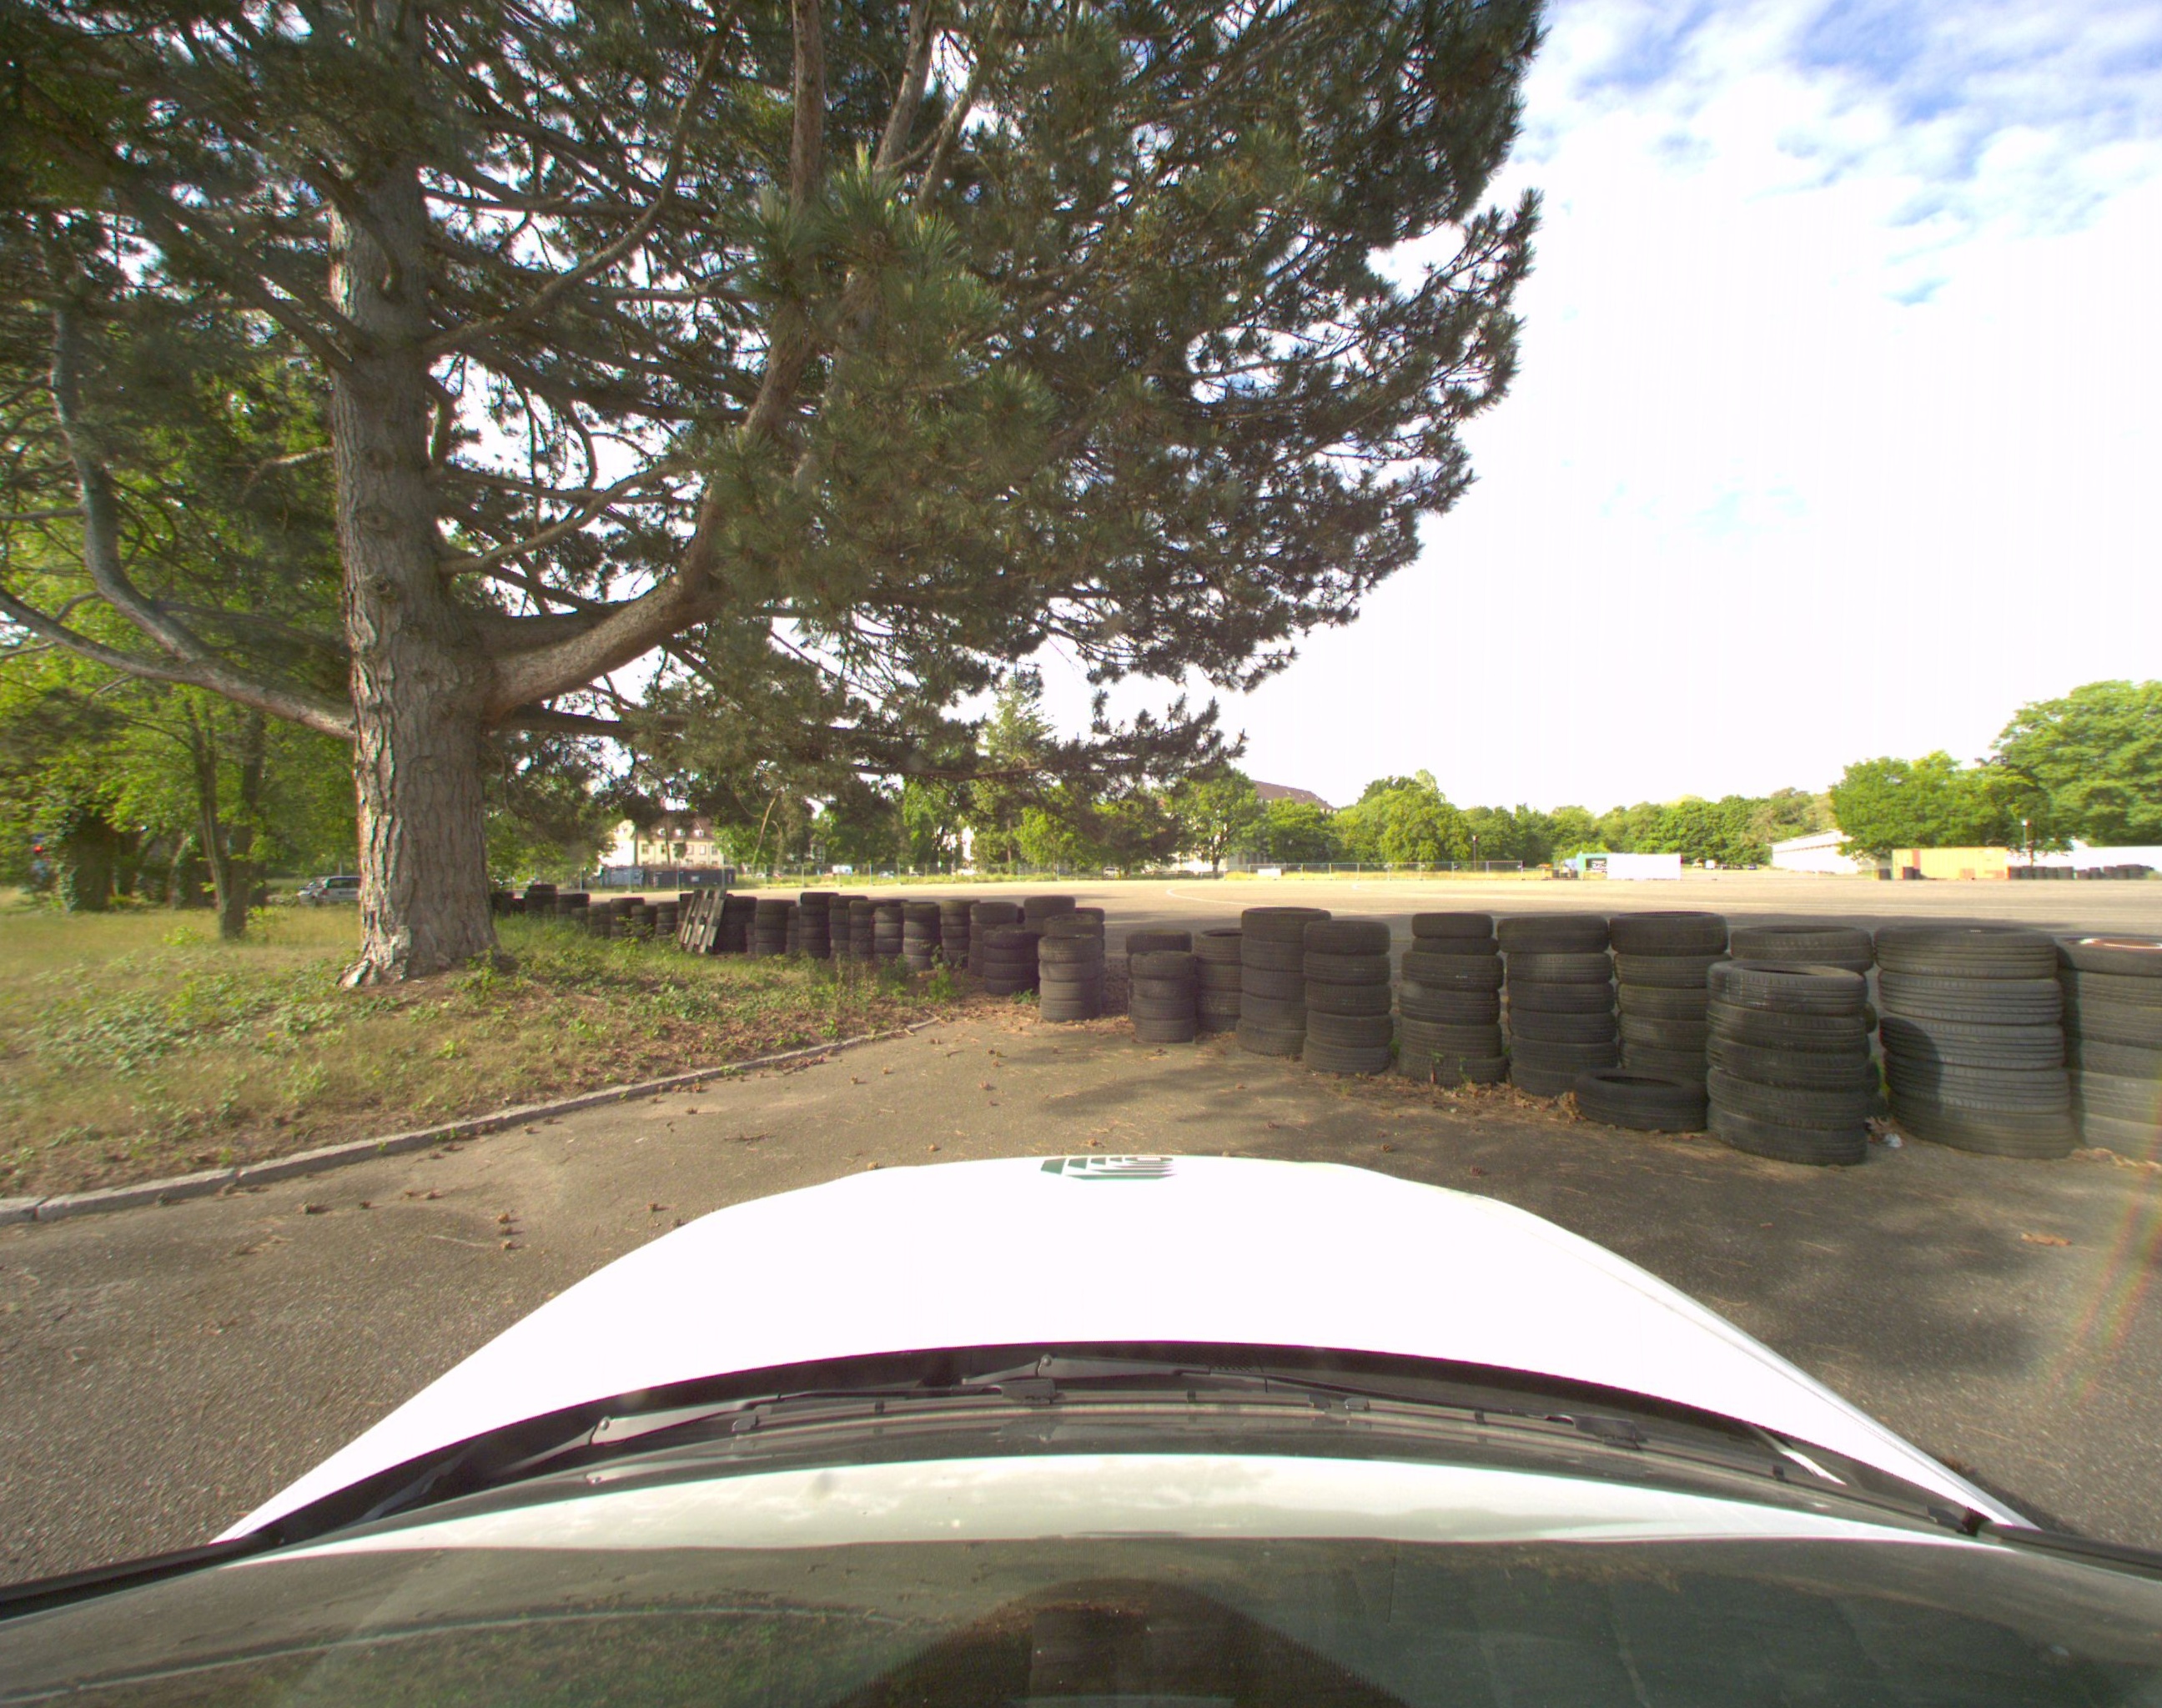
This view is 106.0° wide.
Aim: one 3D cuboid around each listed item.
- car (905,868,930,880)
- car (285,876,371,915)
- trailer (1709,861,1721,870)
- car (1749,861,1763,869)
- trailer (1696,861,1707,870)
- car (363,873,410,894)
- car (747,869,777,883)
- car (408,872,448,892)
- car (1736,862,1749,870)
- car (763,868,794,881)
[{"bbox_3d":[-24.933,3.058,124.083,2.011,1.750,3.951,0,-1,-43],"label":"car"},{"bbox_3d":[-32.078,1.729,34.687,3.948,1.541,1.904,-1,-2,35],"label":"car"},{"bbox_3d":[152.503,2.786,195.996,2.038,2.014,4.025,-1,-1,35],"label":"trailer"},{"bbox_3d":[157.765,2.627,190.315,1.974,1.750,4.025,-1,-1,34],"label":"car"},{"bbox_3d":[151.330,2.800,198.531,1.974,2.014,4.025,-1,-1,35],"label":"trailer"},{"bbox_3d":[-55.471,2.342,65.027,3.948,1.618,2.013,-2,-1,37],"label":"car"},{"bbox_3d":[-40.665,2.840,103.764,3.949,1.750,2.012,-2,-1,42],"label":"car"},{"bbox_3d":[-54.030,2.300,67.351,3.948,1.618,1.838,-2,-1,39],"label":"car"},{"bbox_3d":[155.739,2.774,191.800,2.011,1.809,4.025,-1,-1,34],"label":"car"},{"bbox_3d":[-39.432,2.683,106.054,3.948,1.750,2.012,-2,-1,39],"label":"car"}]
